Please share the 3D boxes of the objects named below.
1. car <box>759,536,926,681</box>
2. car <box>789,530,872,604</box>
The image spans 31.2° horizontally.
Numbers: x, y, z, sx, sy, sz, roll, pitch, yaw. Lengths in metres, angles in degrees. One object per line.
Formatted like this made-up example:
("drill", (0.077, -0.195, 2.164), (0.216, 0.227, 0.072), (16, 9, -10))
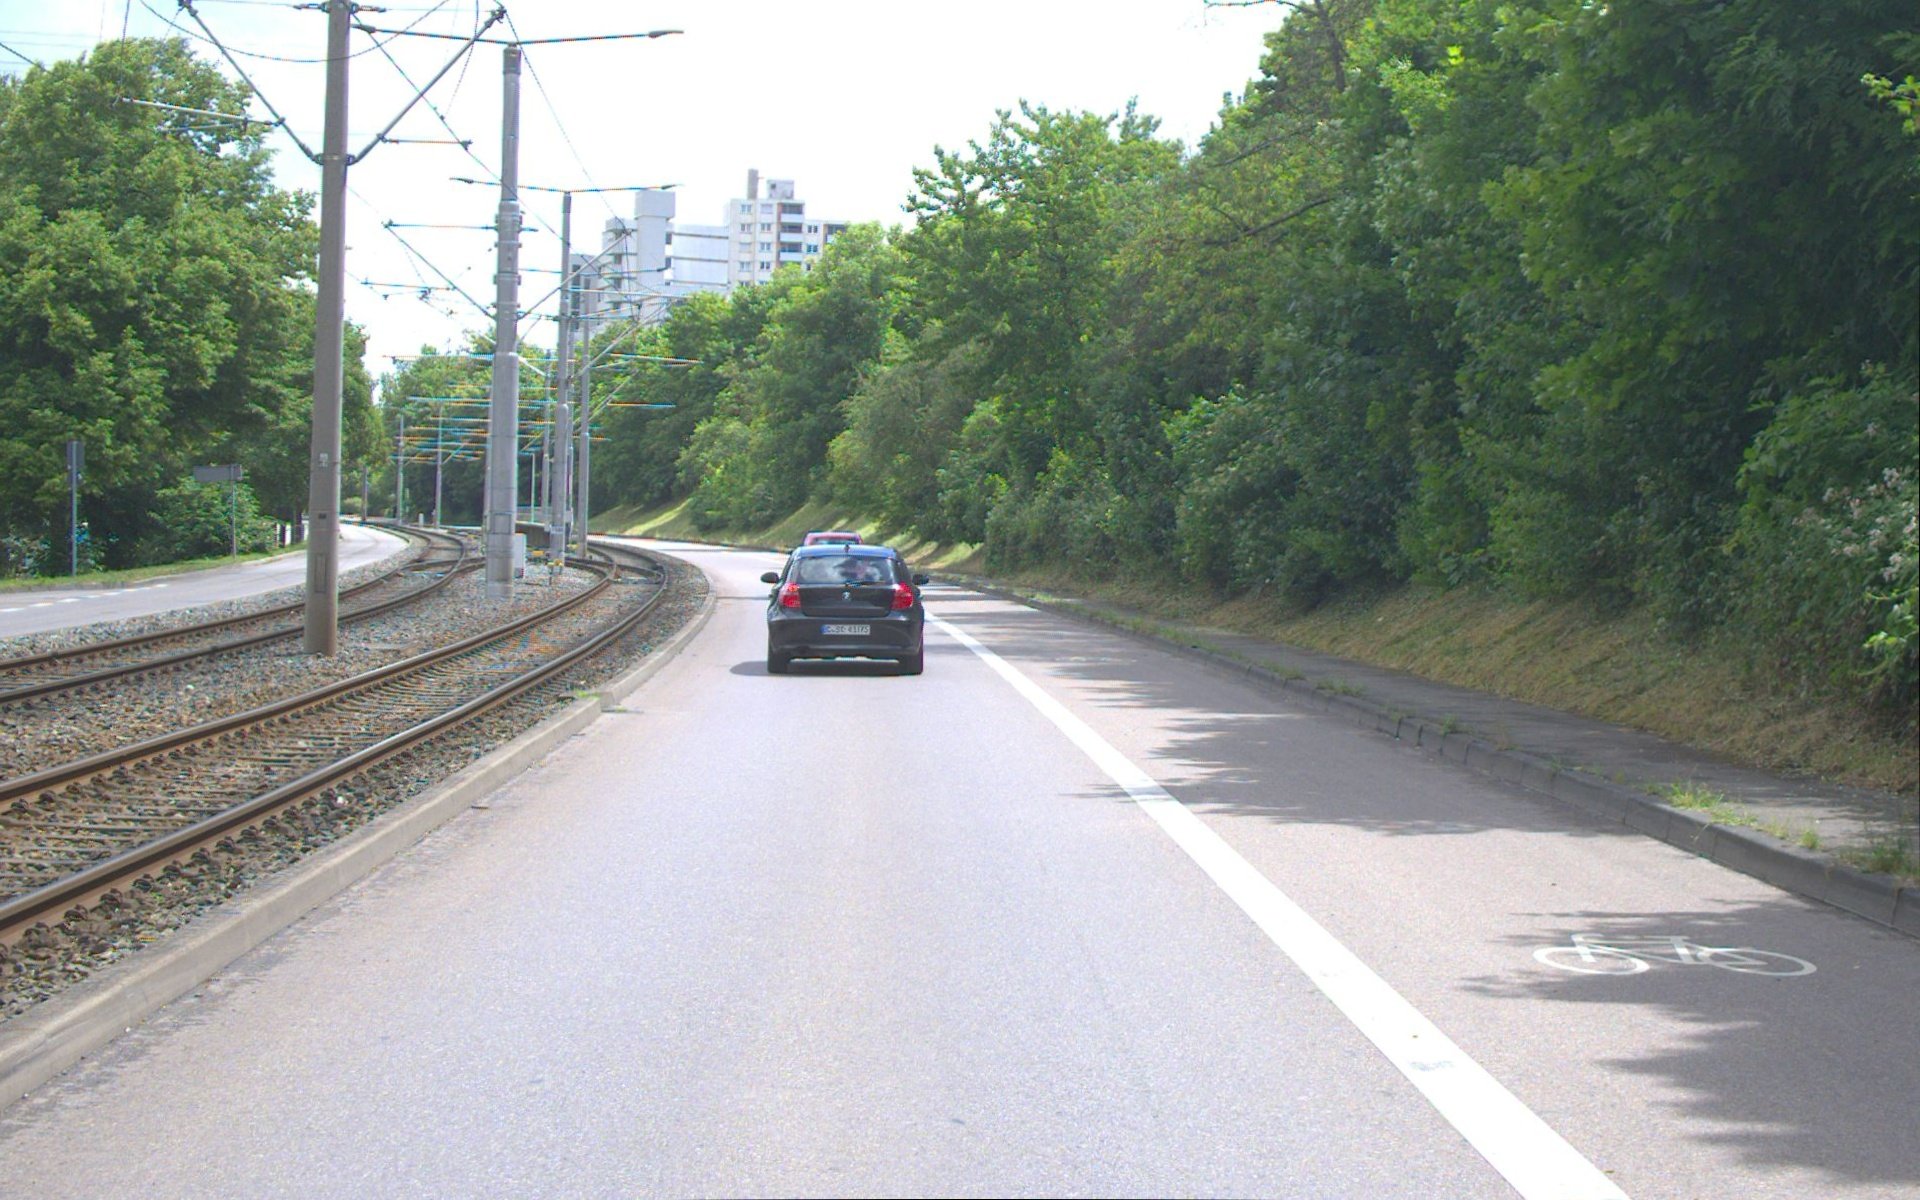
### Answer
("car", (-1.288, 0.083, 38.607), (1.708, 1.455, 3.960), (3, 0, -1))
("car", (-2.766, -0.691, 73.976), (1.624, 1.438, 3.421), (3, -1, -1))
